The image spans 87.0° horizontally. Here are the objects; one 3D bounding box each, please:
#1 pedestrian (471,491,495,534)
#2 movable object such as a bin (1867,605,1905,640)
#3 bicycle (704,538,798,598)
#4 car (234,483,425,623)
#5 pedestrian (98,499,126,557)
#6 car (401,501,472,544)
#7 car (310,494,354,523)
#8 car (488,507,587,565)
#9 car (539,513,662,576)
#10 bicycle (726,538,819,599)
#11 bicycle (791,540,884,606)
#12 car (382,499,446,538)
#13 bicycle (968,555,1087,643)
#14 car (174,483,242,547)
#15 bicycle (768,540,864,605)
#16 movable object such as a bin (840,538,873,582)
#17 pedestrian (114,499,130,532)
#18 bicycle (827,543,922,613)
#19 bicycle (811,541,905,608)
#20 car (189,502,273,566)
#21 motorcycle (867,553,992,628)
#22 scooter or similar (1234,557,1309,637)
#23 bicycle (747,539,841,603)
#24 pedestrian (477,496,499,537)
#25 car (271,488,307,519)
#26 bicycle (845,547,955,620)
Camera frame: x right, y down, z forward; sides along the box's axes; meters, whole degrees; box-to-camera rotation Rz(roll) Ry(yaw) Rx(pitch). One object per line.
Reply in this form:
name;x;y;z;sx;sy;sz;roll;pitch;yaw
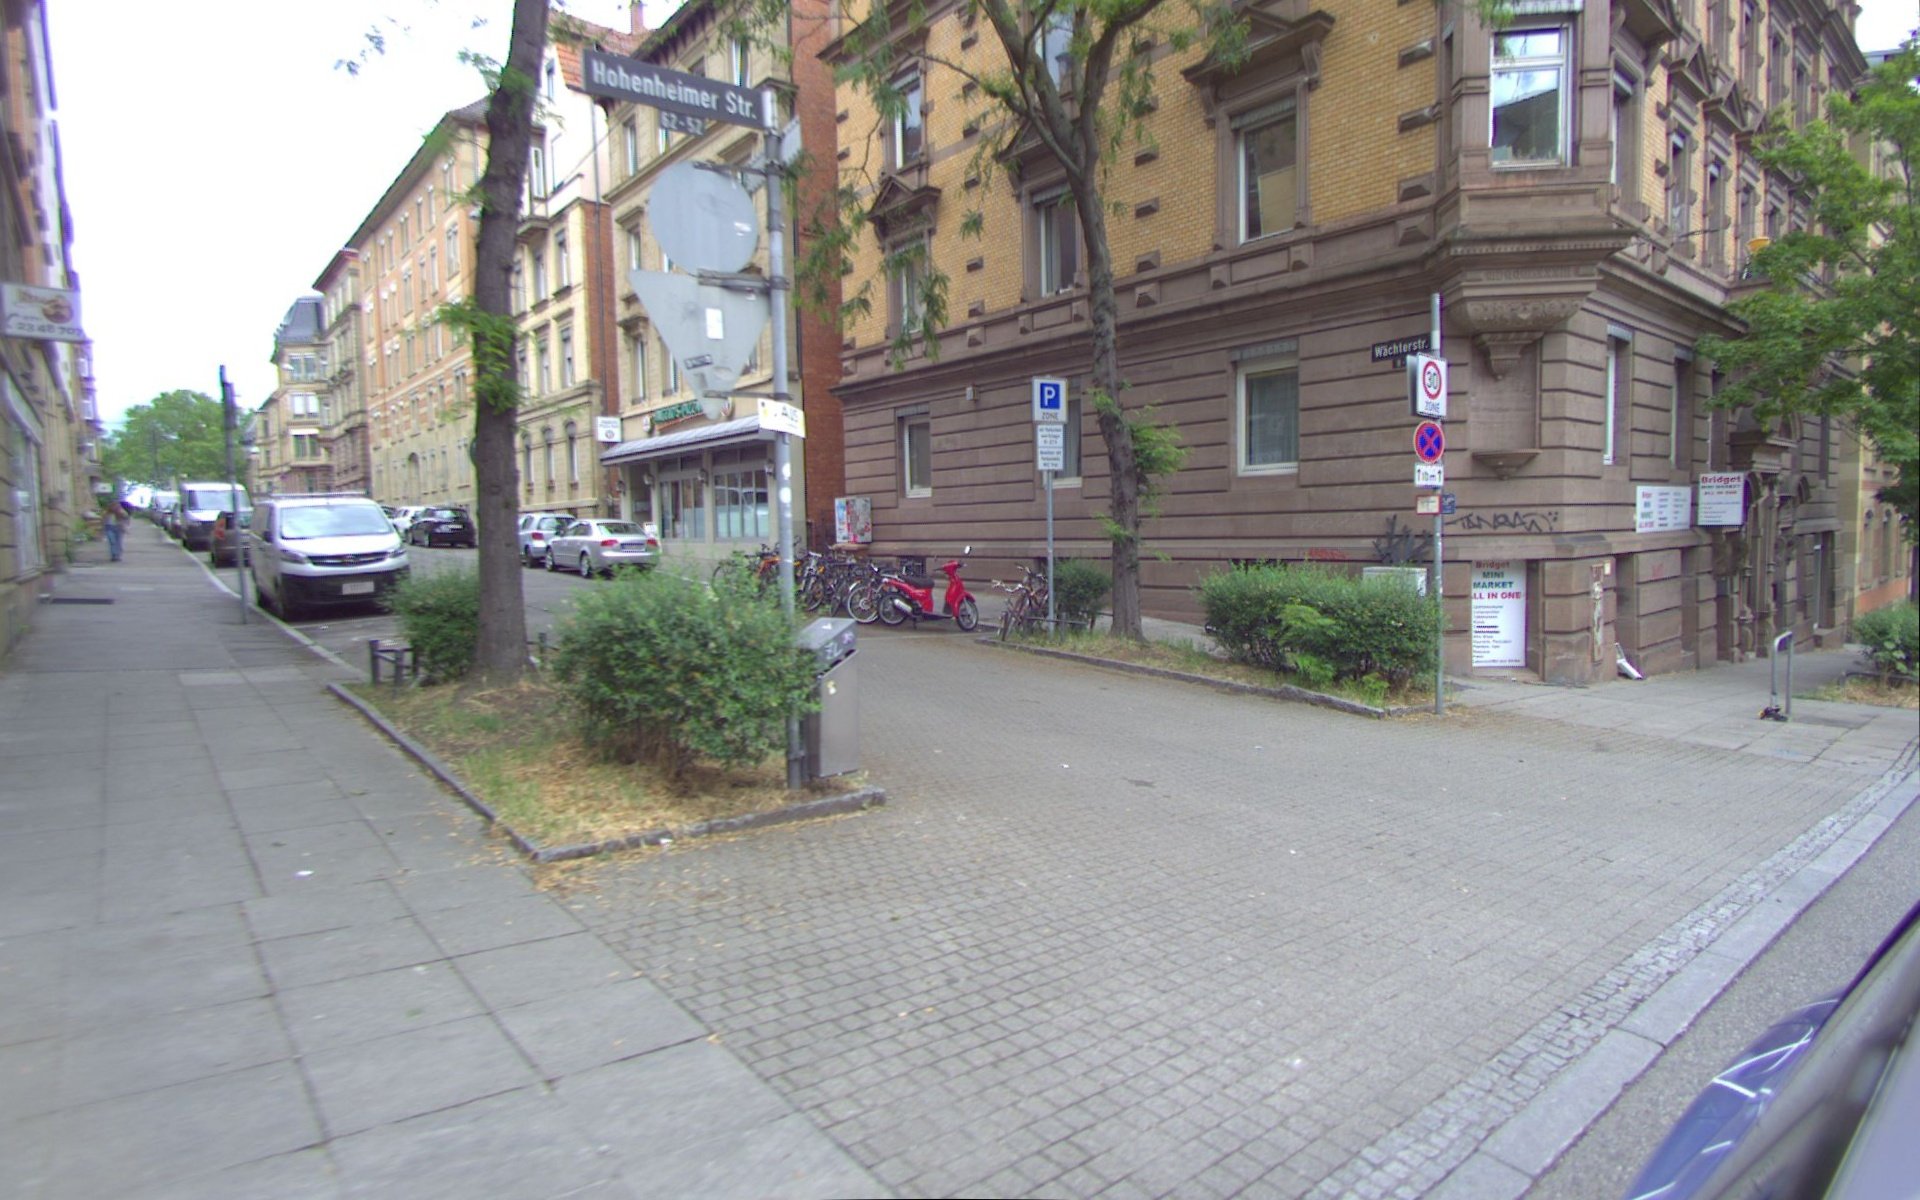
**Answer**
pedestrian;-19.251;-3.527;40.835;0.711;1.677;0.684;0;0;-40
movable object such as a bin;25.895;0.624;28.314;0.529;0.954;0.673;0;2;-37
bicycle;-4.166;-0.671;20.326;0.588;1.112;1.894;5;7;40
car;-11.156;-0.954;17.707;1.949;2.036;5.259;-7;8;-40
pedestrian;-23.216;-1.957;27.709;0.575;1.558;0.582;0;0;-38
car;-19.793;-2.957;38.204;1.614;1.527;3.870;-3;6;-39
car;-35.151;-5.136;56.624;1.614;1.527;3.870;-3;6;-39
car;-12.303;-1.896;29.377;1.614;1.527;3.870;-3;6;-39
car;-9.230;-1.471;25.805;1.614;1.422;4.280;-3;6;-39
bicycle;-3.664;-0.646;19.918;0.563;1.112;1.895;5;7;39
bicycle;-2.242;-0.521;18.770;0.507;1.112;1.895;5;7;39
car;-22.867;-3.421;42.326;1.614;1.527;3.870;-3;6;-39
bicycle;0.984;-0.053;14.345;1.890;1.112;0.508;-4;7;-43
car;-26.405;-3.016;35.508;1.647;2.111;3.434;-2;7;-40
bicycle;-2.701;-0.553;19.129;0.591;1.112;1.895;5;7;39
movable object such as a bin;-2.295;-0.891;22.400;0.428;0.896;0.562;3;9;38
pedestrian;-41.449;-4.177;50.068;0.575;1.558;0.582;0;0;-38
bicycle;-1.491;-0.416;17.947;0.507;1.112;1.895;5;7;39
bicycle;-1.828;-0.491;18.434;0.507;1.112;1.895;5;7;39
car;-20.654;-1.903;28.629;1.647;1.596;3.434;-2;7;-40
motorcycle;-0.481;-0.160;15.912;1.881;1.112;0.510;-1;5;-16
scooter or similar;4.576;-0.052;14.898;0.965;1.090;0.237;5;7;24
bicycle;-3.184;-0.591;19.528;0.563;1.112;1.895;5;7;39
pedestrian;-20.158;-3.548;43.245;0.711;1.677;0.684;0;0;-40
car;-47.257;-6.809;71.242;1.692;2.037;3.998;0;4;-39
bicycle;-0.992;-0.299;16.972;1.887;1.112;0.509;-3;7;-38
